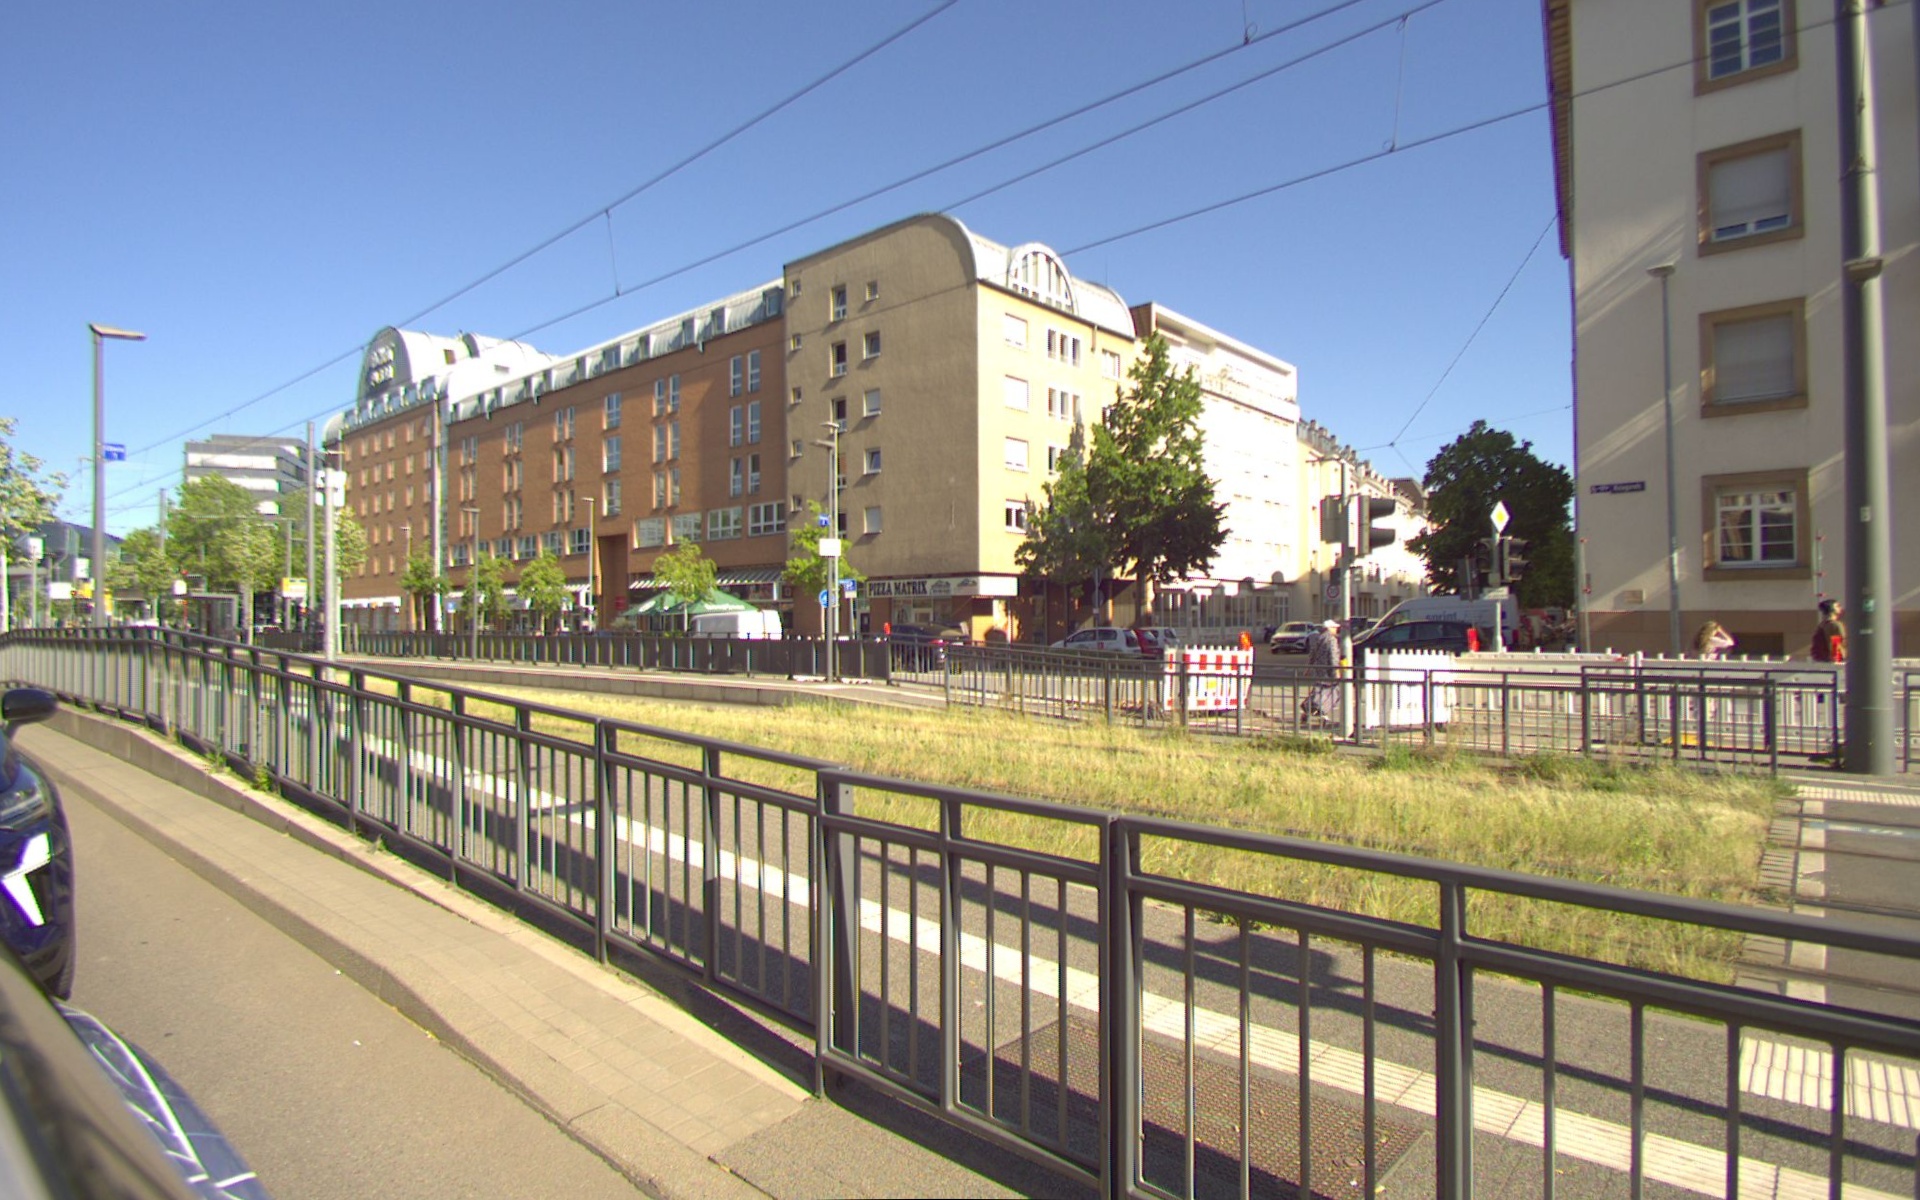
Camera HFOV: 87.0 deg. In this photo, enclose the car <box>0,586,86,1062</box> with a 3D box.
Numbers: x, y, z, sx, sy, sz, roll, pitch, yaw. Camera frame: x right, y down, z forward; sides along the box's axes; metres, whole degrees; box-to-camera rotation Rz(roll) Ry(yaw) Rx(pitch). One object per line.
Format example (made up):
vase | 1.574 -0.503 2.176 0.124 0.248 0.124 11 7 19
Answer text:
car | -5.206 0.788 4.252 3.998 1.618 1.779 -1 0 41
